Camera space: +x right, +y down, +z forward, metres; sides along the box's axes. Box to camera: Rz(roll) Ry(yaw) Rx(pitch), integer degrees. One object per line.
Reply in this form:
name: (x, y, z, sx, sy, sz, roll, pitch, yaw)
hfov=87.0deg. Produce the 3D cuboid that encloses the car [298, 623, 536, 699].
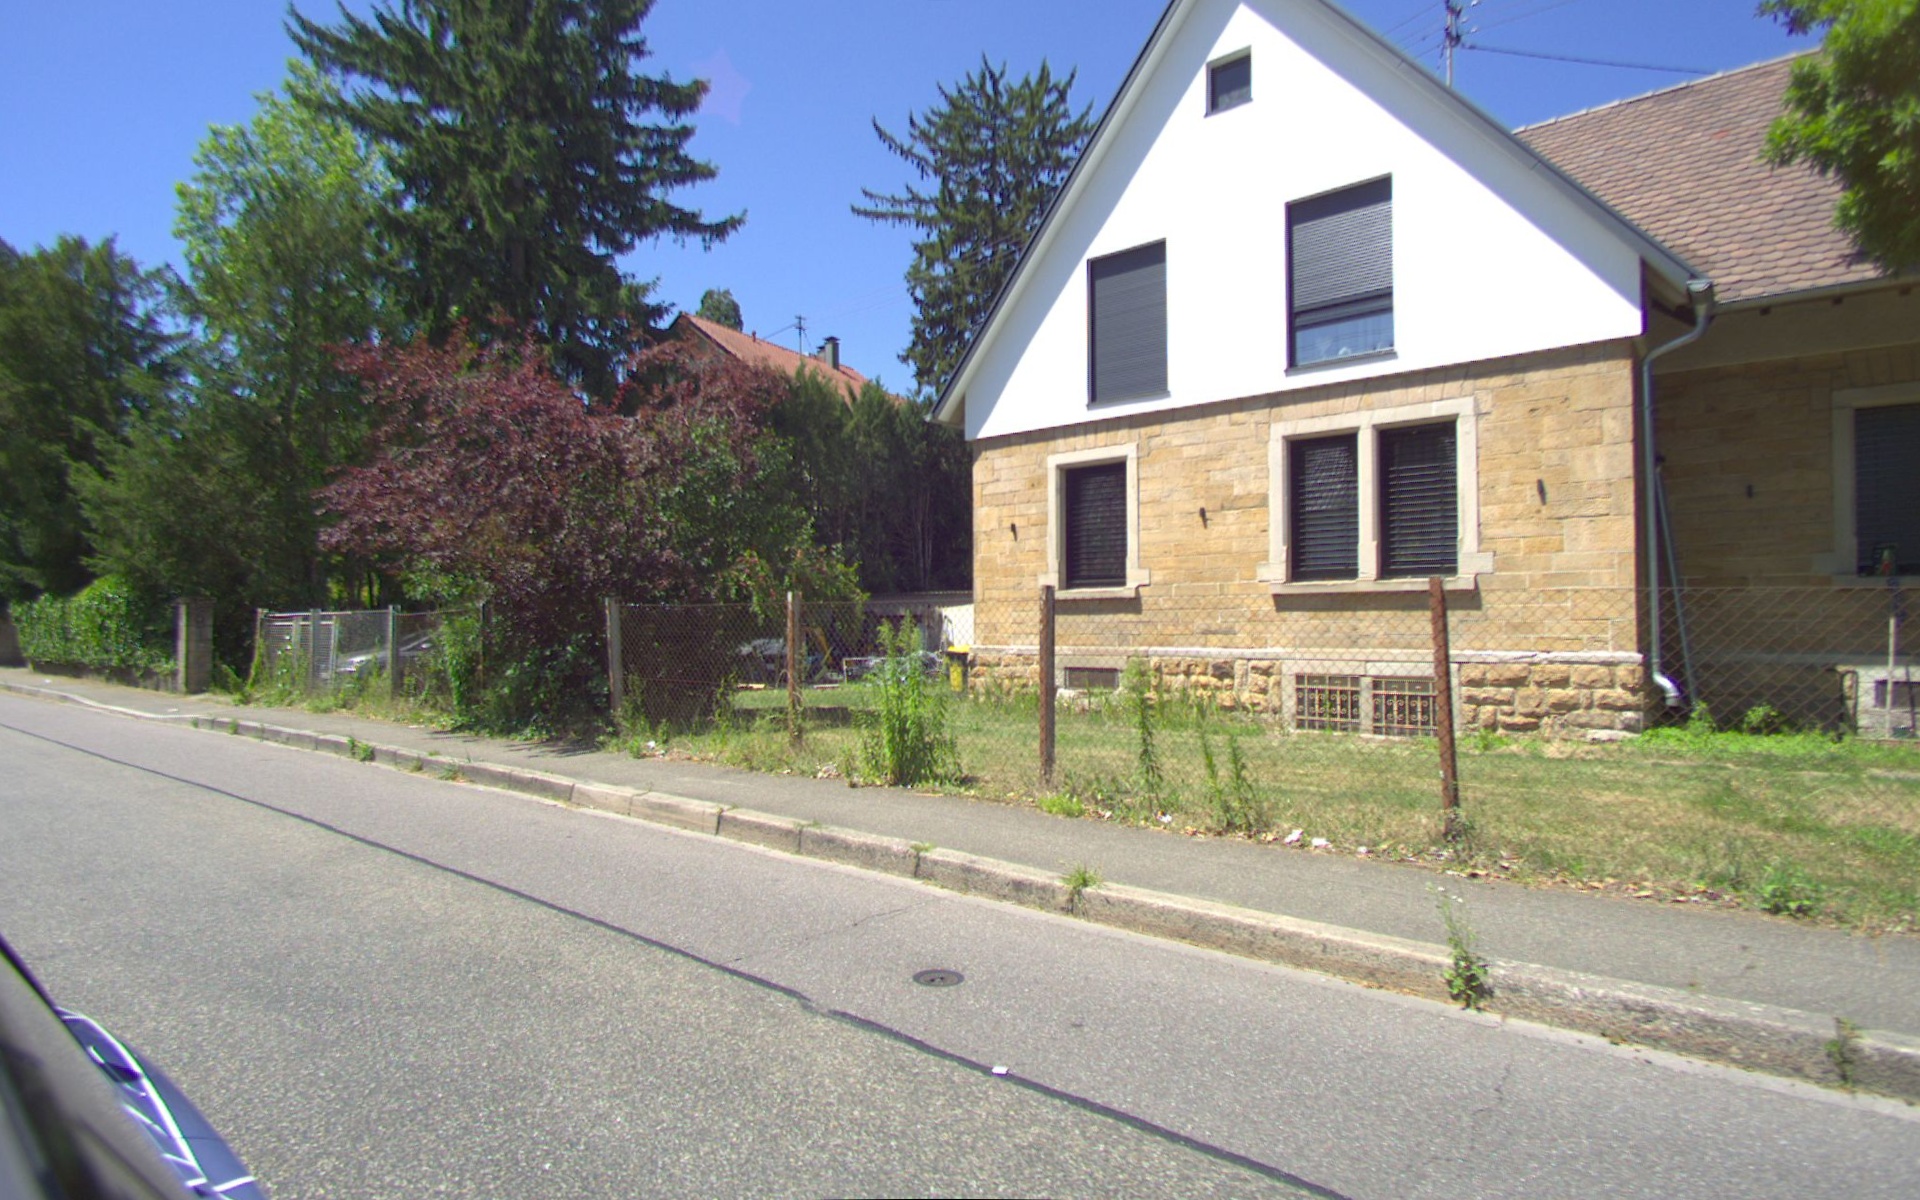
car: (-11.326, 1.276, 21.292, 1.968, 1.435, 3.944, -2, -4, 42)

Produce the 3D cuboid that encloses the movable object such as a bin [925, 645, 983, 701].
movable object such as a bin: (-0.099, 1.145, 16.118, 0.723, 0.834, 0.560, -2, -1, 42)

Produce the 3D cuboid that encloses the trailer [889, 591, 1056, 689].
trailer: (0.344, 0.956, 24.495, 3.825, 2.188, 1.825, 1, -3, -42)

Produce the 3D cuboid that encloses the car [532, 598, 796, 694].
car: (-7.478, 1.260, 26.514, 2.396, 2.188, 6.604, -2, -4, 34)
